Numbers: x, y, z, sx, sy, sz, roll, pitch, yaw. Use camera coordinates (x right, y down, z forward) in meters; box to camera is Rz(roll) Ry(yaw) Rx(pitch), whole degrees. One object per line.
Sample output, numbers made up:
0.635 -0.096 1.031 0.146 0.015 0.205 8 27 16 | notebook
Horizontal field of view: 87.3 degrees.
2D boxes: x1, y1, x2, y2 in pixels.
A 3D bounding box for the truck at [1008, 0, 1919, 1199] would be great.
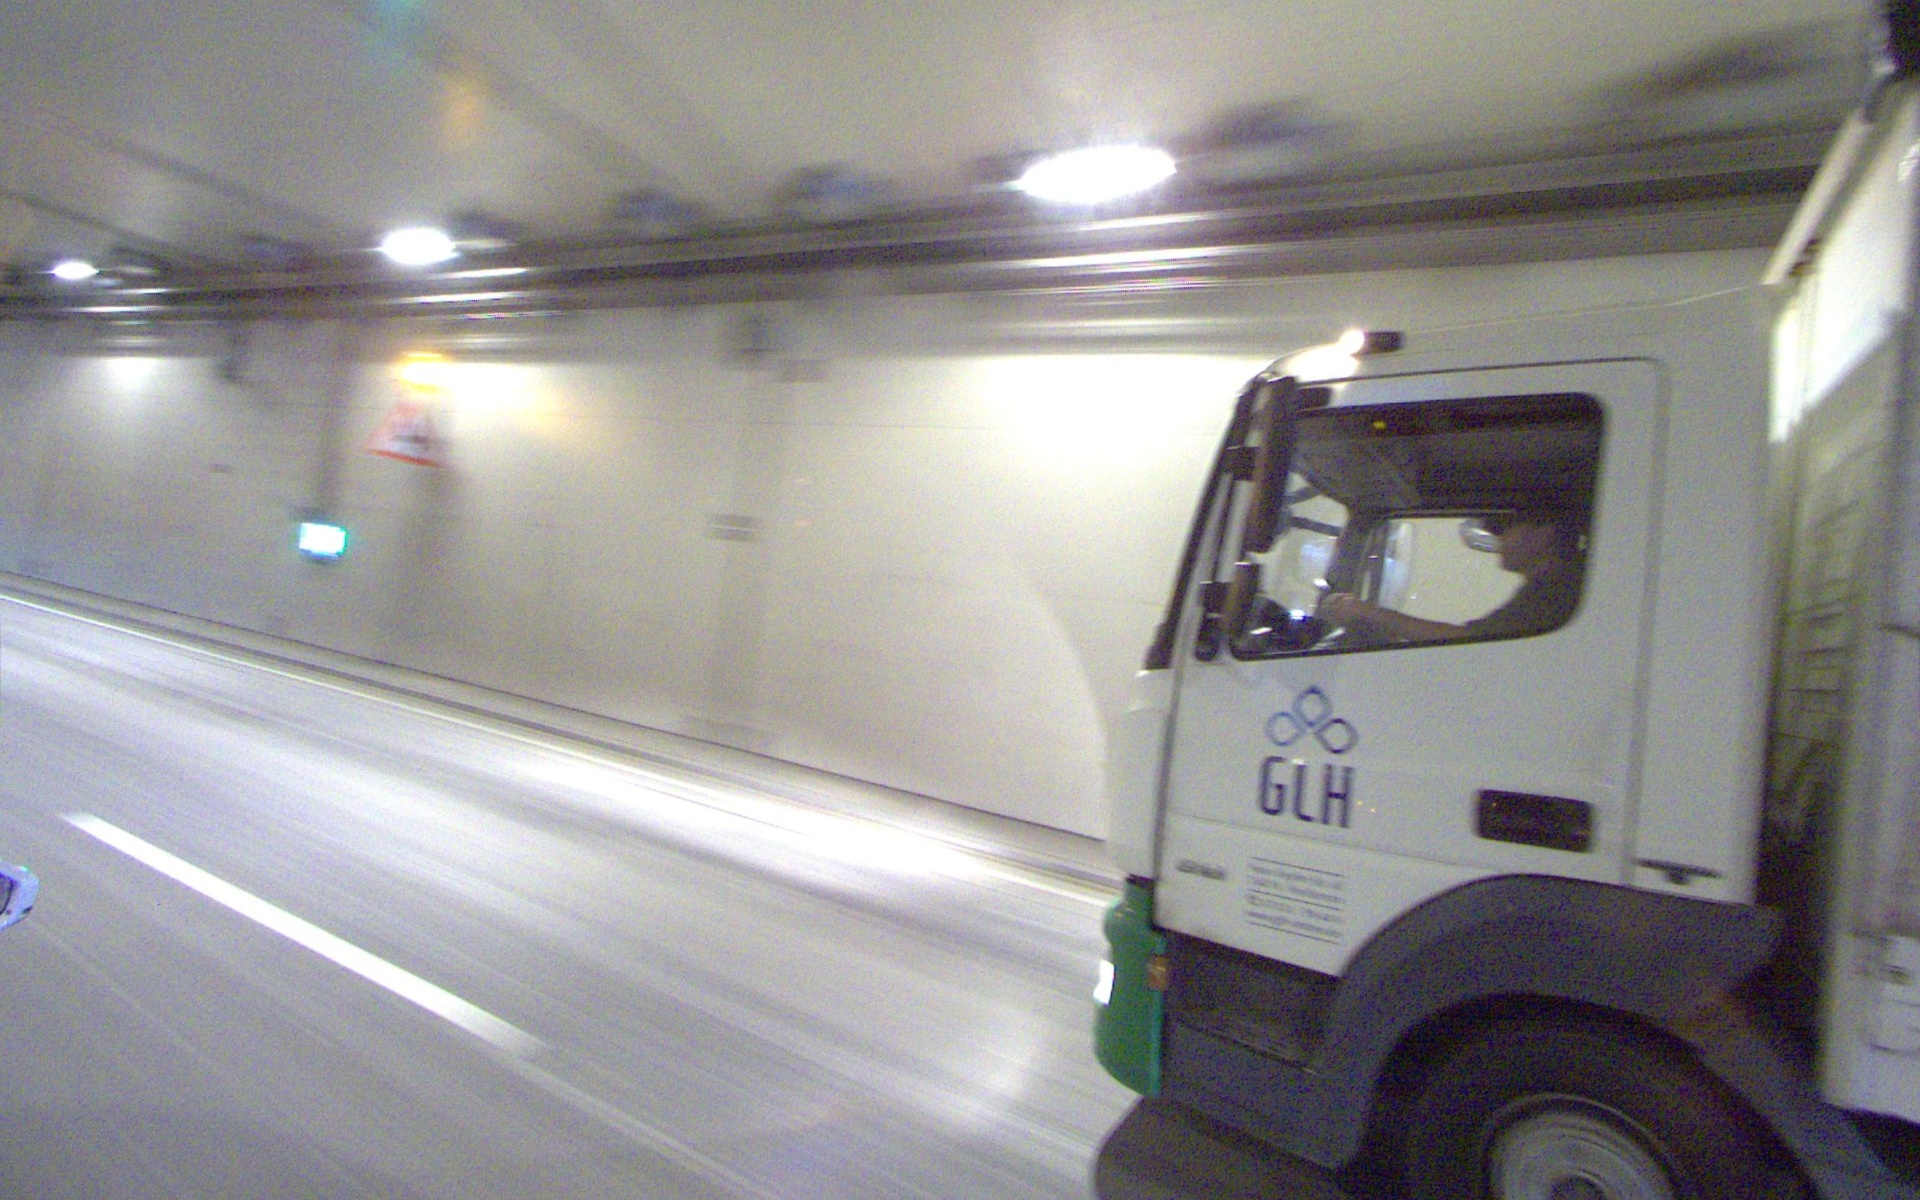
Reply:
4.009 0.477 2.126 7.123 3.218 2.559 7 -1 31 | truck
